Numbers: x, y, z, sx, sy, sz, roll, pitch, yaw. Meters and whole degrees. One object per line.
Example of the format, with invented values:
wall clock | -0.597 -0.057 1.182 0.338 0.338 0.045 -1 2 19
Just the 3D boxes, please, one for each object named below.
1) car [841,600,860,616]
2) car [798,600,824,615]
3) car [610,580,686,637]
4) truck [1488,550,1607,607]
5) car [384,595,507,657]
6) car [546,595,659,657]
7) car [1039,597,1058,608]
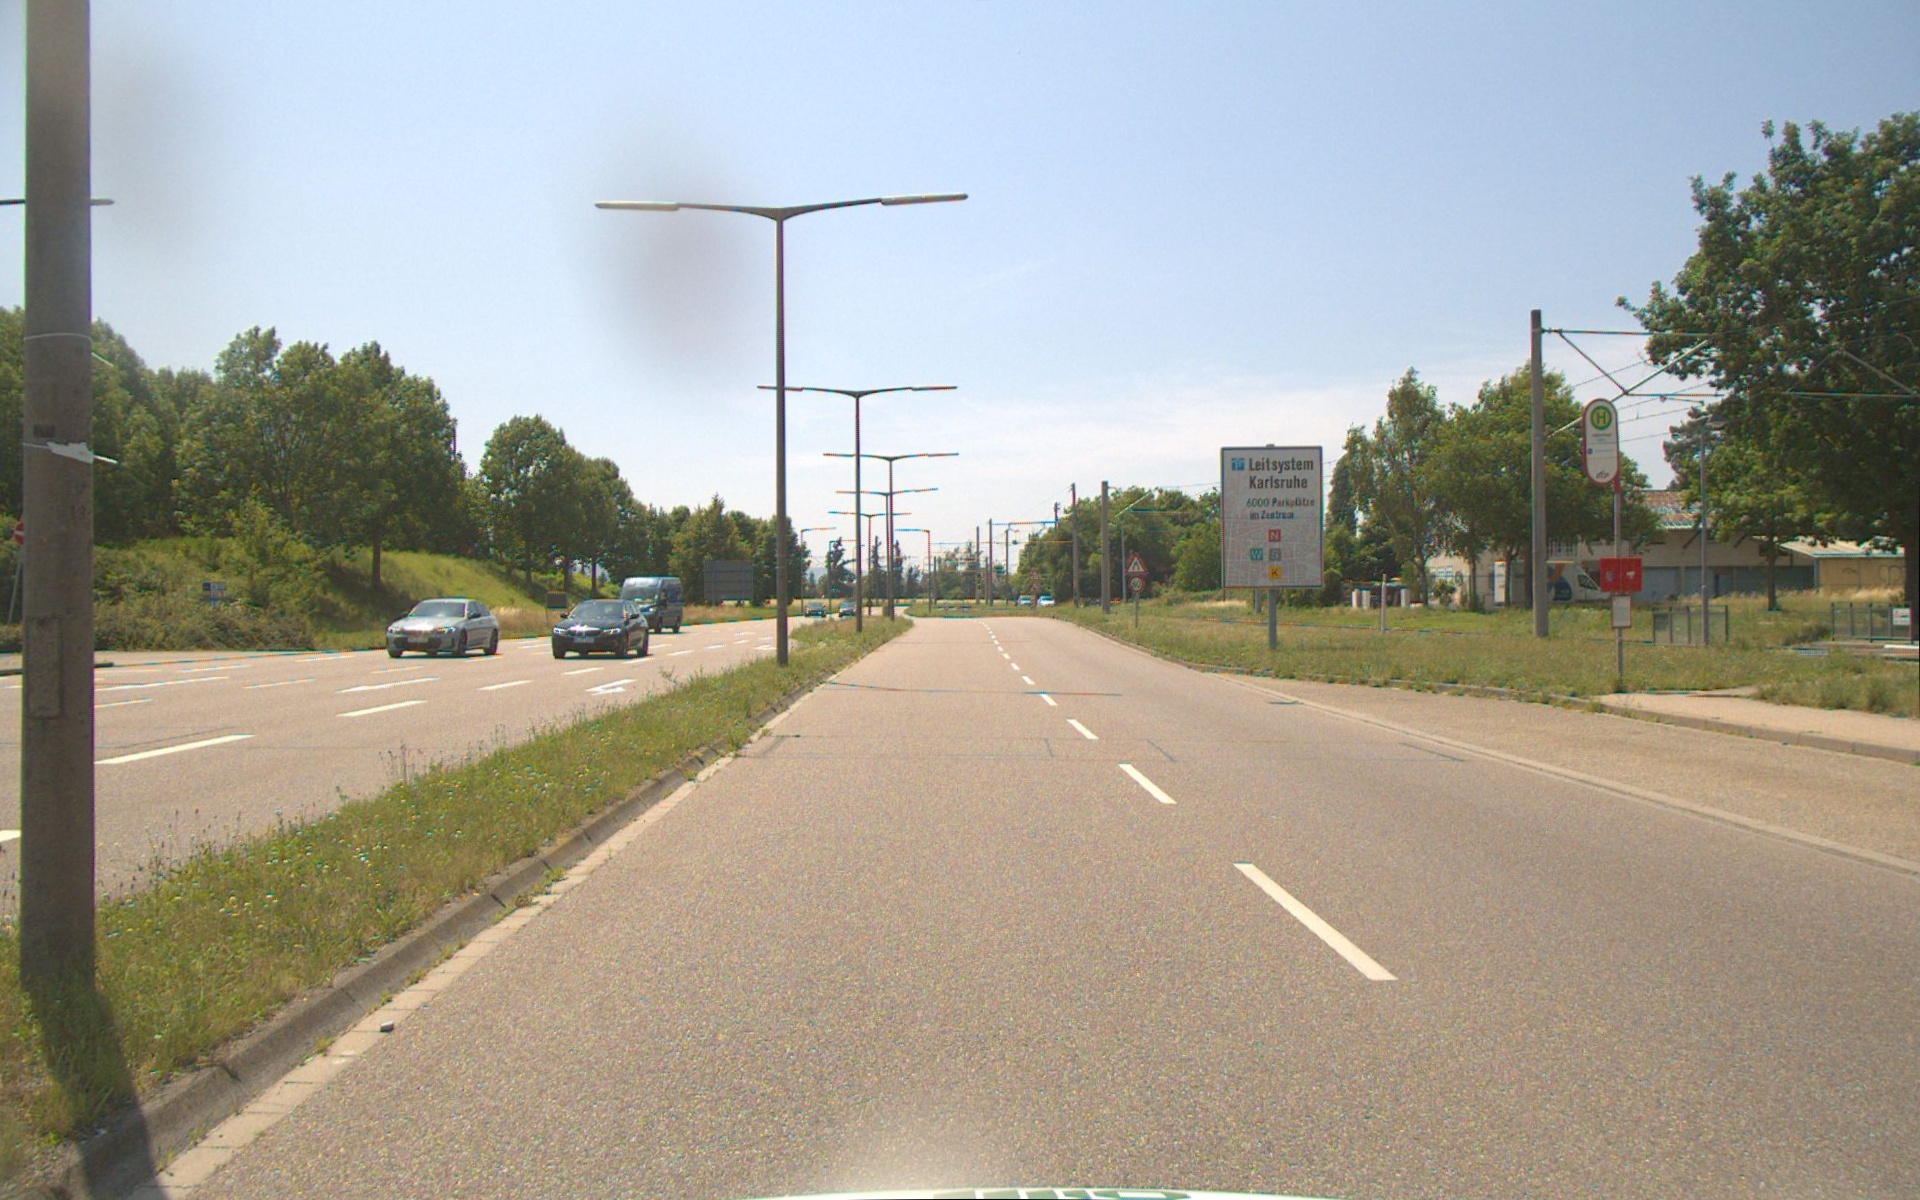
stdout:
car | -10.551 0.758 158.918 1.658 1.518 3.998 -1 0 -2
car | -13.965 0.699 155.577 1.953 1.383 4.665 -2 0 0
car | -13.996 0.344 74.441 2.128 2.454 5.673 0 0 2
truck | 32.397 -1.178 91.252 5.733 2.893 2.315 -2 -1 -9
car | -13.106 0.629 42.448 1.794 1.474 4.849 -1 0 -2
car | -9.091 0.634 42.439 1.695 1.483 4.566 -1 0 3
car | 9.802 0.300 183.679 1.533 1.200 3.074 -1 0 -7
